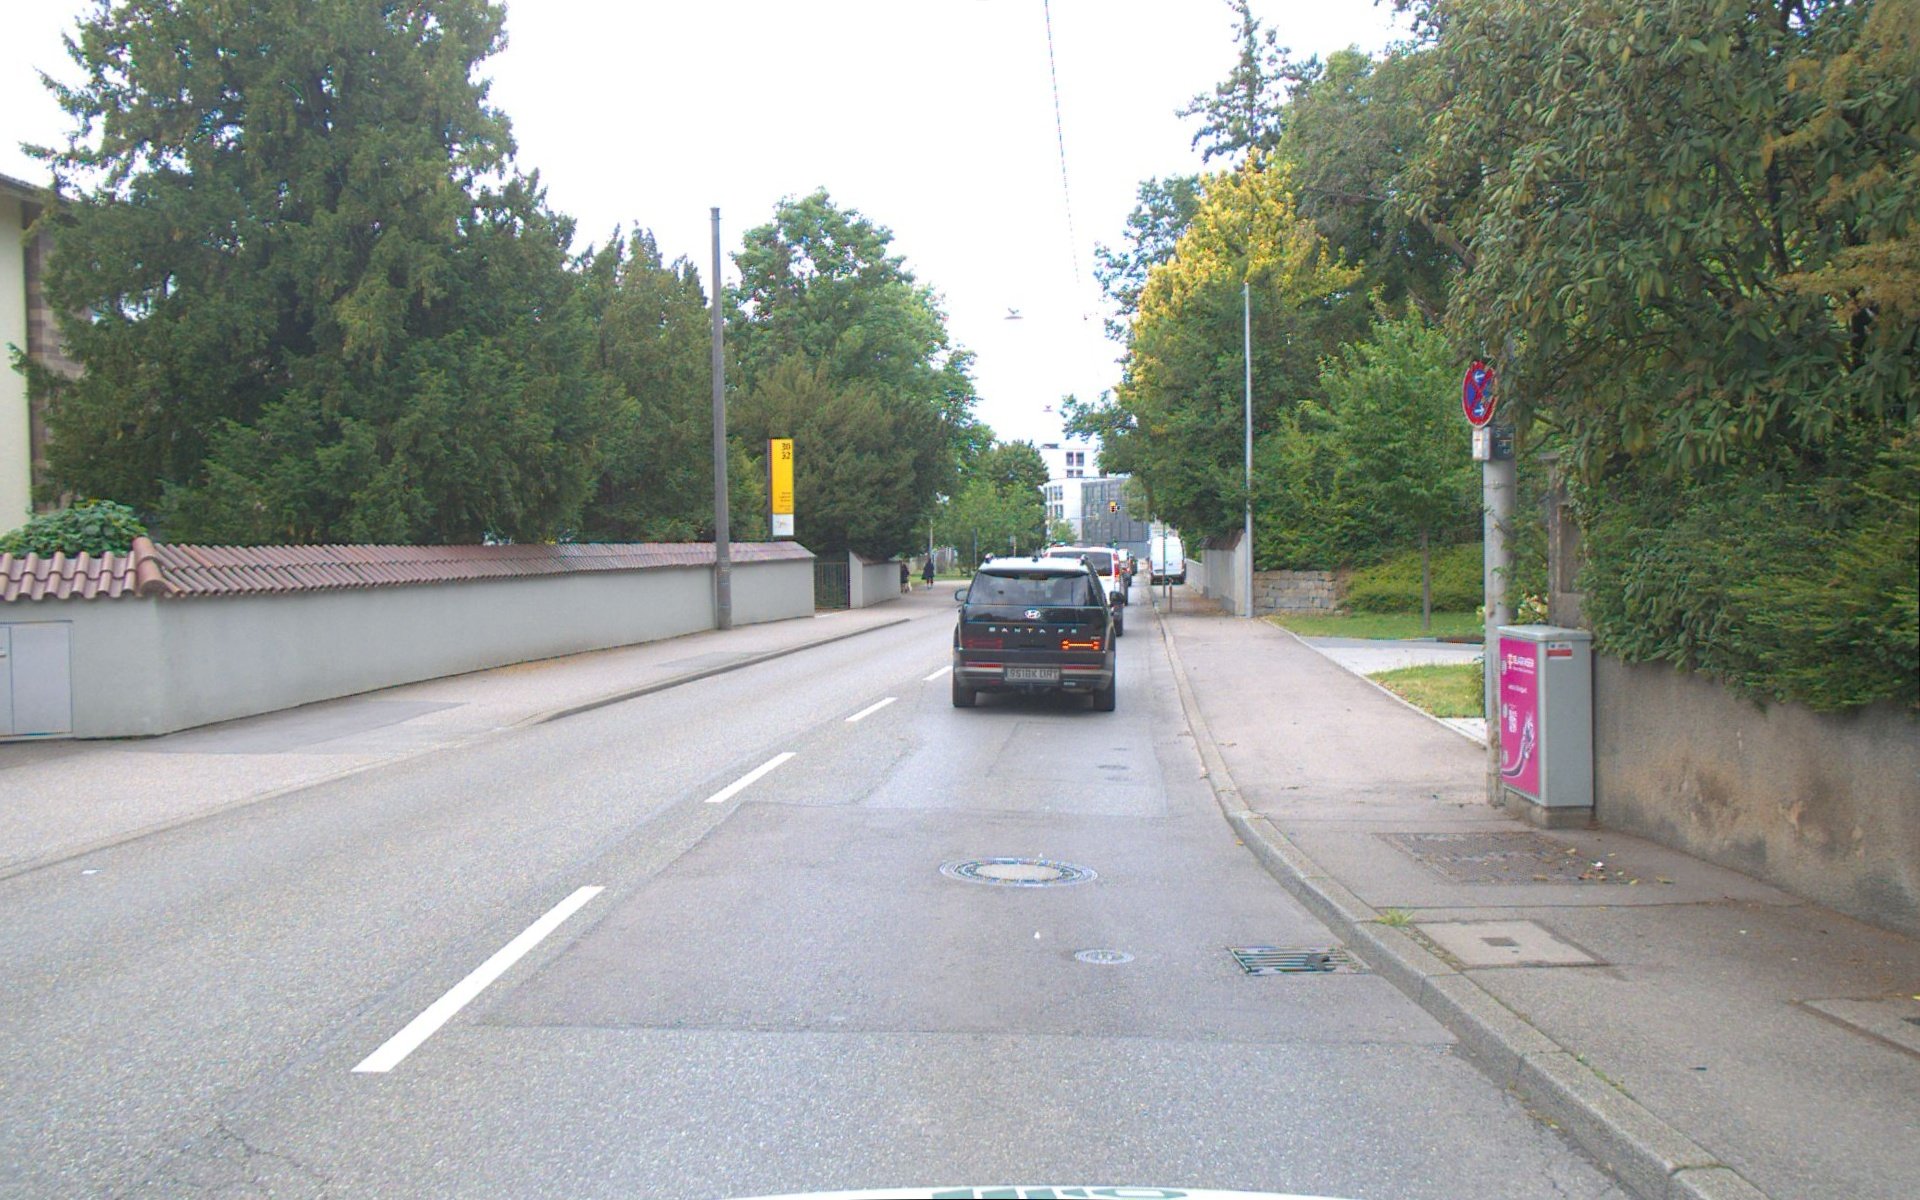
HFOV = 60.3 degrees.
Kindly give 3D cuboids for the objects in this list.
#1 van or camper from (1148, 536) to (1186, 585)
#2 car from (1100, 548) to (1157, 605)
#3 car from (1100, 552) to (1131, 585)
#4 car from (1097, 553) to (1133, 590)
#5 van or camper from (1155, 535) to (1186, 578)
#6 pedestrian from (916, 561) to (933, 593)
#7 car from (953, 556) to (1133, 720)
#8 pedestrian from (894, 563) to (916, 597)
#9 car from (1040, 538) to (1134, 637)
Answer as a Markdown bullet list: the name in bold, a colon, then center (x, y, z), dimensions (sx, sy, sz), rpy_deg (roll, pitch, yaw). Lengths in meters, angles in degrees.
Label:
- **van or camper**: center (12.117, -2.337, 97.100), dimensions (1.922, 2.673, 6.364), rpy_deg (-3, 1, 6)
- **car**: center (5.973, -0.836, 58.756), dimensions (1.922, 1.936, 4.003), rpy_deg (-1, 1, 6)
- **car**: center (9.977, -2.019, 105.866), dimensions (1.922, 2.036, 4.003), rpy_deg (-1, 1, 6)
- **car**: center (8.802, -1.608, 93.850), dimensions (1.922, 2.036, 4.003), rpy_deg (-1, 1, 6)
- **van or camper**: center (14.719, -3.050, 115.760), dimensions (1.922, 2.845, 5.291), rpy_deg (-2, 1, 6)
- **pedestrian**: center (-1.807, -1.188, 84.991), dimensions (0.733, 1.605, 0.967), rpy_deg (1, 1, 6)
- **car**: center (0.971, 0.356, 19.885), dimensions (1.923, 1.741, 4.002), rpy_deg (1, 2, 2)
- **pedestrian**: center (-2.604, -0.933, 78.443), dimensions (0.906, 1.587, 0.903), rpy_deg (2, 0, 2)
- **car**: center (2.876, -0.304, 36.851), dimensions (1.922, 2.036, 4.003), rpy_deg (-2, 1, 6)
